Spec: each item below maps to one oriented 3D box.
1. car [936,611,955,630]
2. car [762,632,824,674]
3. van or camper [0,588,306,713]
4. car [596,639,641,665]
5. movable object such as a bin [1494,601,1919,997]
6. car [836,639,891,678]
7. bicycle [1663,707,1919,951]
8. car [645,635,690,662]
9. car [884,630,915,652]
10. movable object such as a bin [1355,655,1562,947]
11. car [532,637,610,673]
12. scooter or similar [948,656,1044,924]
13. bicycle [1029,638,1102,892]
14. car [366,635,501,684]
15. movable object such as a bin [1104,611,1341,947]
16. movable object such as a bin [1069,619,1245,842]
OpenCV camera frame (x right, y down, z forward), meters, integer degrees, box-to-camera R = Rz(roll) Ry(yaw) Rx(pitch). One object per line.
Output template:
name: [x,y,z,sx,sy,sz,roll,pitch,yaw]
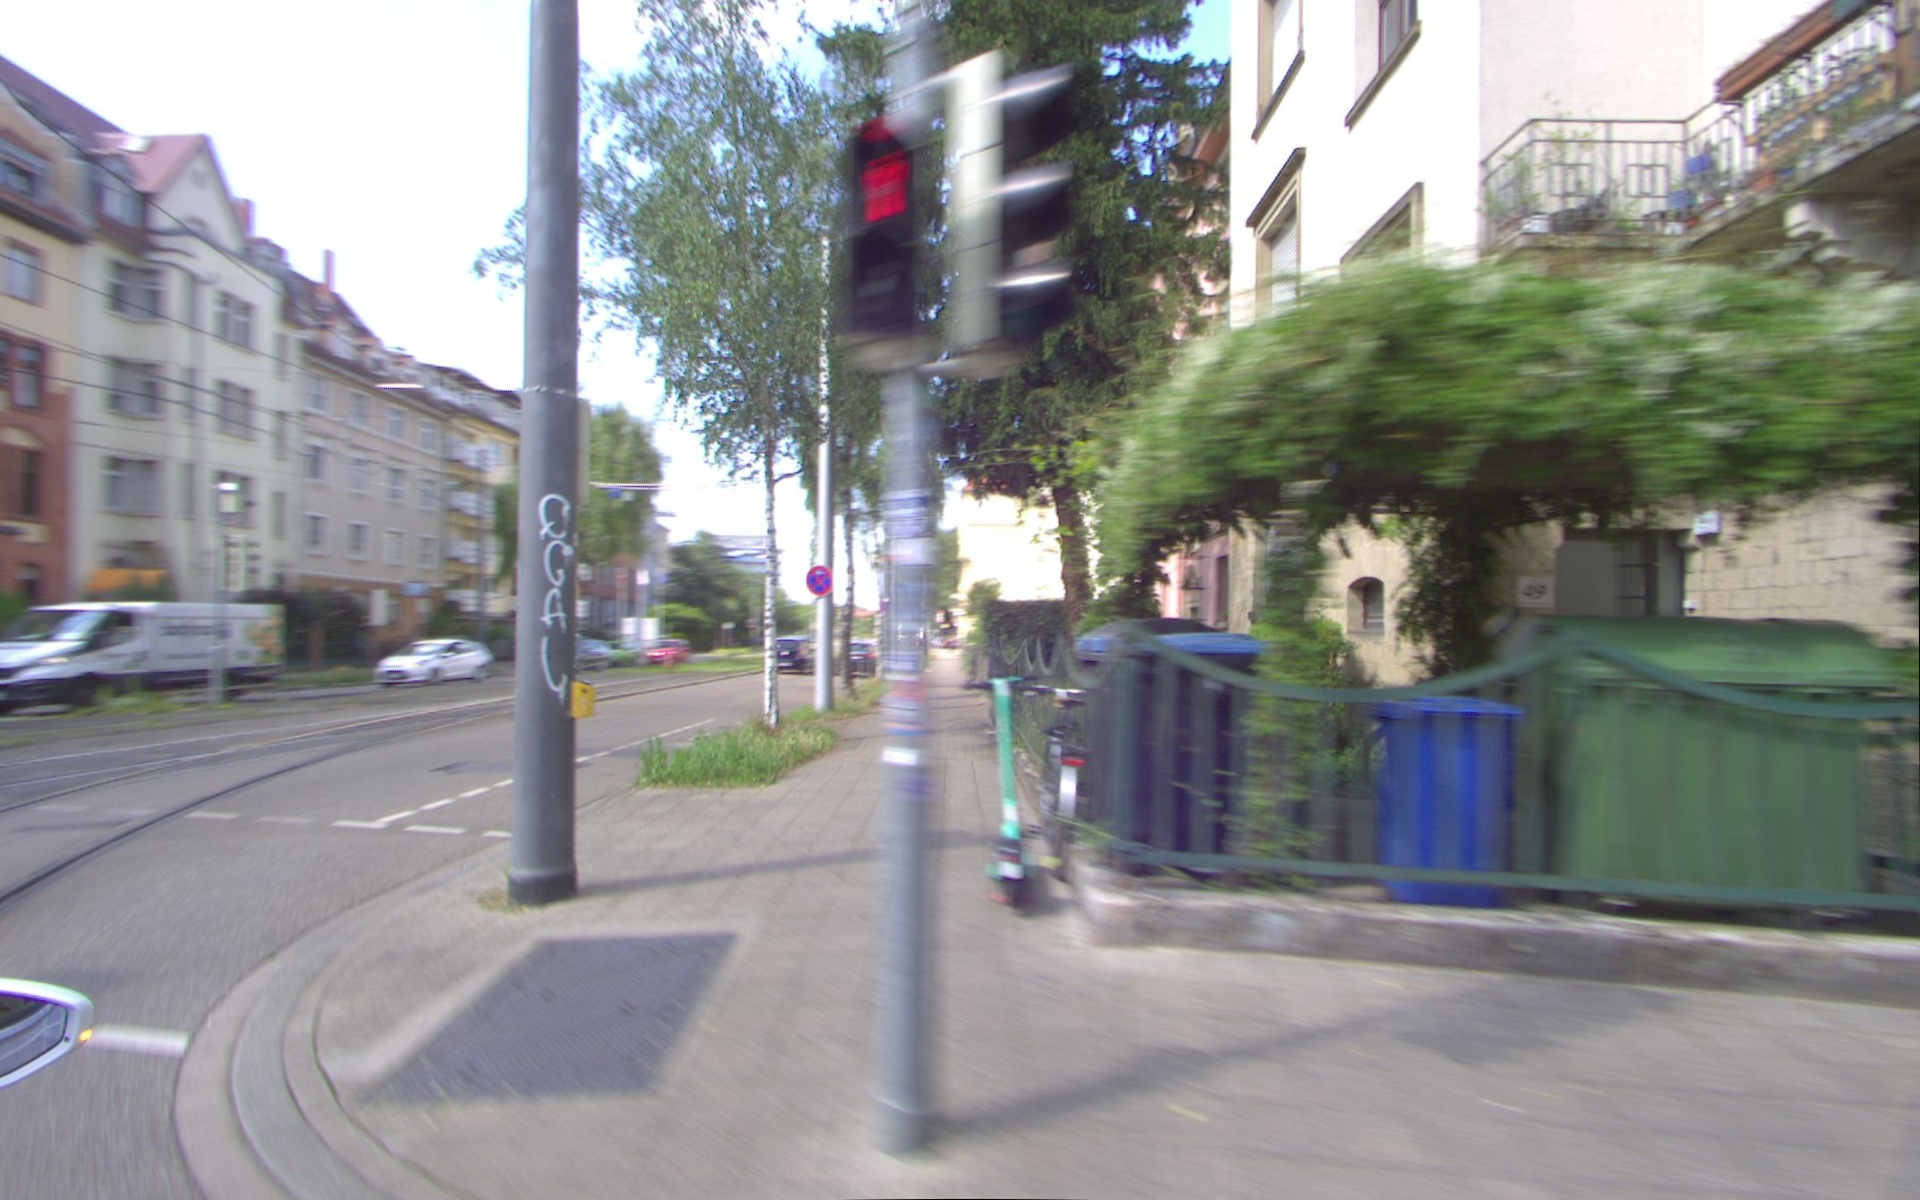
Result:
car: [-1.556,2.200,107.312,1.869,1.820,3.814,3,-1,1]
car: [-7.027,2.211,42.428,1.869,1.595,3.814,3,-1,1]
van or camper: [-17.610,1.039,21.741,2.204,2.282,6.548,1,-2,3]
car: [-18.919,2.864,55.609,1.537,1.403,3.189,1,-2,-3]
movable object such as a bin: [3.694,0.797,4.508,2.060,1.559,1.053,0,-1,12]
car: [-4.028,2.437,42.429,1.869,1.404,3.814,3,-1,1]
bicycle: [4.879,1.198,5.717,0.501,1.013,1.847,0,-1,3]
car: [-16.546,2.699,56.713,1.683,1.460,3.355,1,-2,-3]
car: [-4.301,2.908,71.716,1.869,1.404,3.814,3,-1,1]
movable object such as a bin: [2.327,0.878,4.793,0.647,1.190,1.031,0,-1,12]
car: [-16.171,2.263,41.840,2.193,1.389,3.980,1,-2,-8]
scooter or similar: [0.211,0.943,5.401,0.454,1.232,1.198,0,-1,4]
bicycle: [0.634,0.929,6.347,0.271,1.346,1.834,0,-1,0]
car: [-16.807,1.870,32.199,1.898,1.457,4.021,0,-2,6]
movable object such as a bin: [1.225,0.805,4.841,0.963,1.491,0.717,0,0,2]
movable object such as a bin: [1.393,0.866,7.553,1.033,1.431,2.100,0,-1,4]
